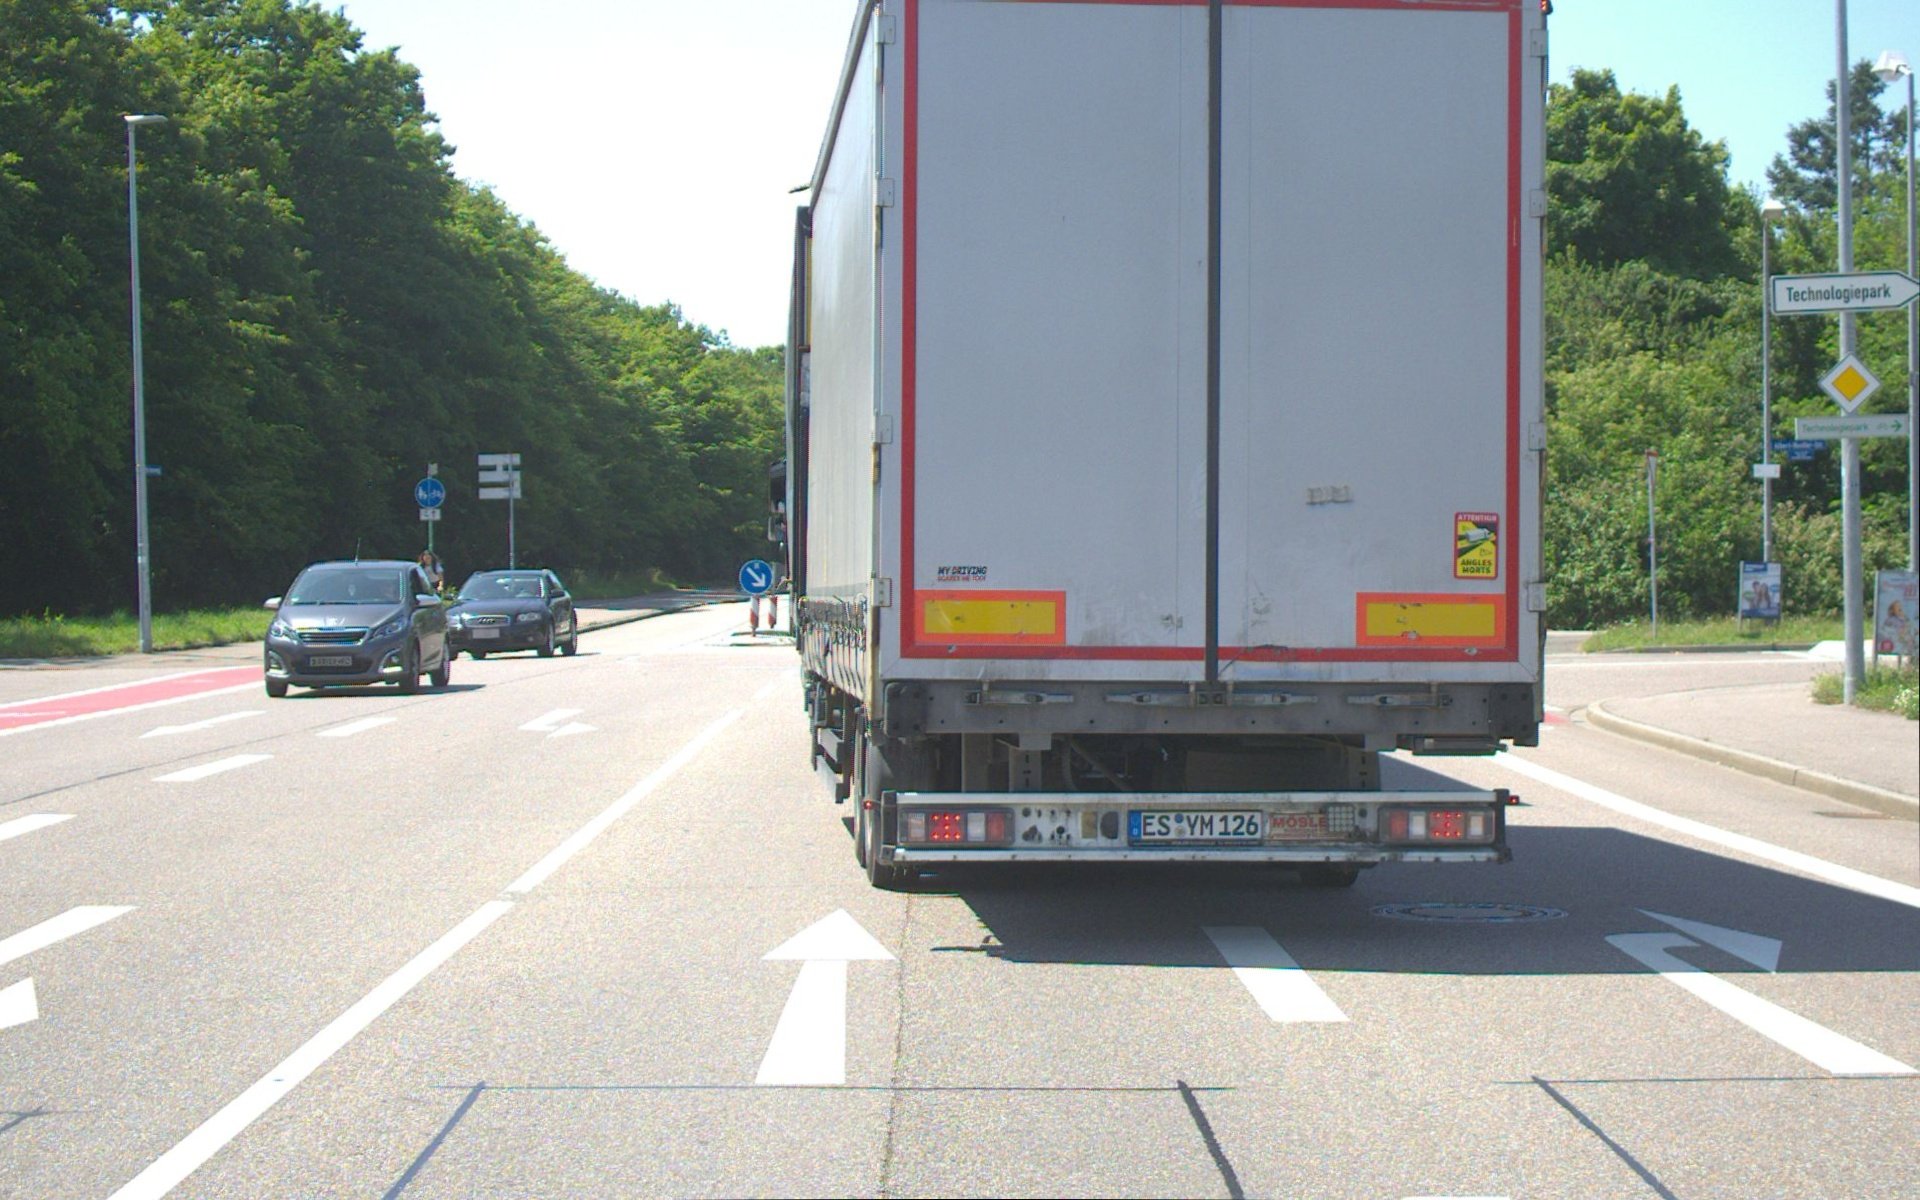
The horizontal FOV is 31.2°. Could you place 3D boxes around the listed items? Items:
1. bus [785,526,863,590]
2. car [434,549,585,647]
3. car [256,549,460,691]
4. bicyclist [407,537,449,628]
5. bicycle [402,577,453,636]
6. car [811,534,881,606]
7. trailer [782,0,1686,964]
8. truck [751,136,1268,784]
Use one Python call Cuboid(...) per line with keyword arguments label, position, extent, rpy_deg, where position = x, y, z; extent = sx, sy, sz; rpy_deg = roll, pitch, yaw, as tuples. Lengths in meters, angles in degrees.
Cuboid(label="bus", position=(-6.812, -2.168, 173.912), extent=(2.750, 3.035, 11.938), rpy_deg=(-1, 1, 3))
Cuboid(label="car", position=(-7.223, -0.061, 55.452), extent=(1.744, 1.400, 4.441), rpy_deg=(-1, 2, 1))
Cuboid(label="car", position=(-6.627, 0.190, 38.133), extent=(1.622, 1.451, 3.501), rpy_deg=(-2, 1, 0))
Cuboid(label="bicyclist", position=(-10.138, -0.341, 65.536), extent=(0.665, 1.700, 0.769), rpy_deg=(1, 1, -1))
Cuboid(label="bicycle", position=(-10.146, 0.113, 65.545), extent=(0.669, 1.051, 2.045), rpy_deg=(1, 1, -1))
Cuboid(label="car", position=(-3.092, -0.831, 93.752), extent=(1.655, 1.900, 4.000), rpy_deg=(-1, 1, 1))
Cuboid(label="trailer", position=(0.760, -0.786, 17.441), extent=(3.077, 4.056, 9.810), rpy_deg=(0, 1, -4))
Cuboid(label="truck", position=(0.076, -0.937, 25.652), extent=(3.077, 4.056, 7.960), rpy_deg=(0, 1, -5))
